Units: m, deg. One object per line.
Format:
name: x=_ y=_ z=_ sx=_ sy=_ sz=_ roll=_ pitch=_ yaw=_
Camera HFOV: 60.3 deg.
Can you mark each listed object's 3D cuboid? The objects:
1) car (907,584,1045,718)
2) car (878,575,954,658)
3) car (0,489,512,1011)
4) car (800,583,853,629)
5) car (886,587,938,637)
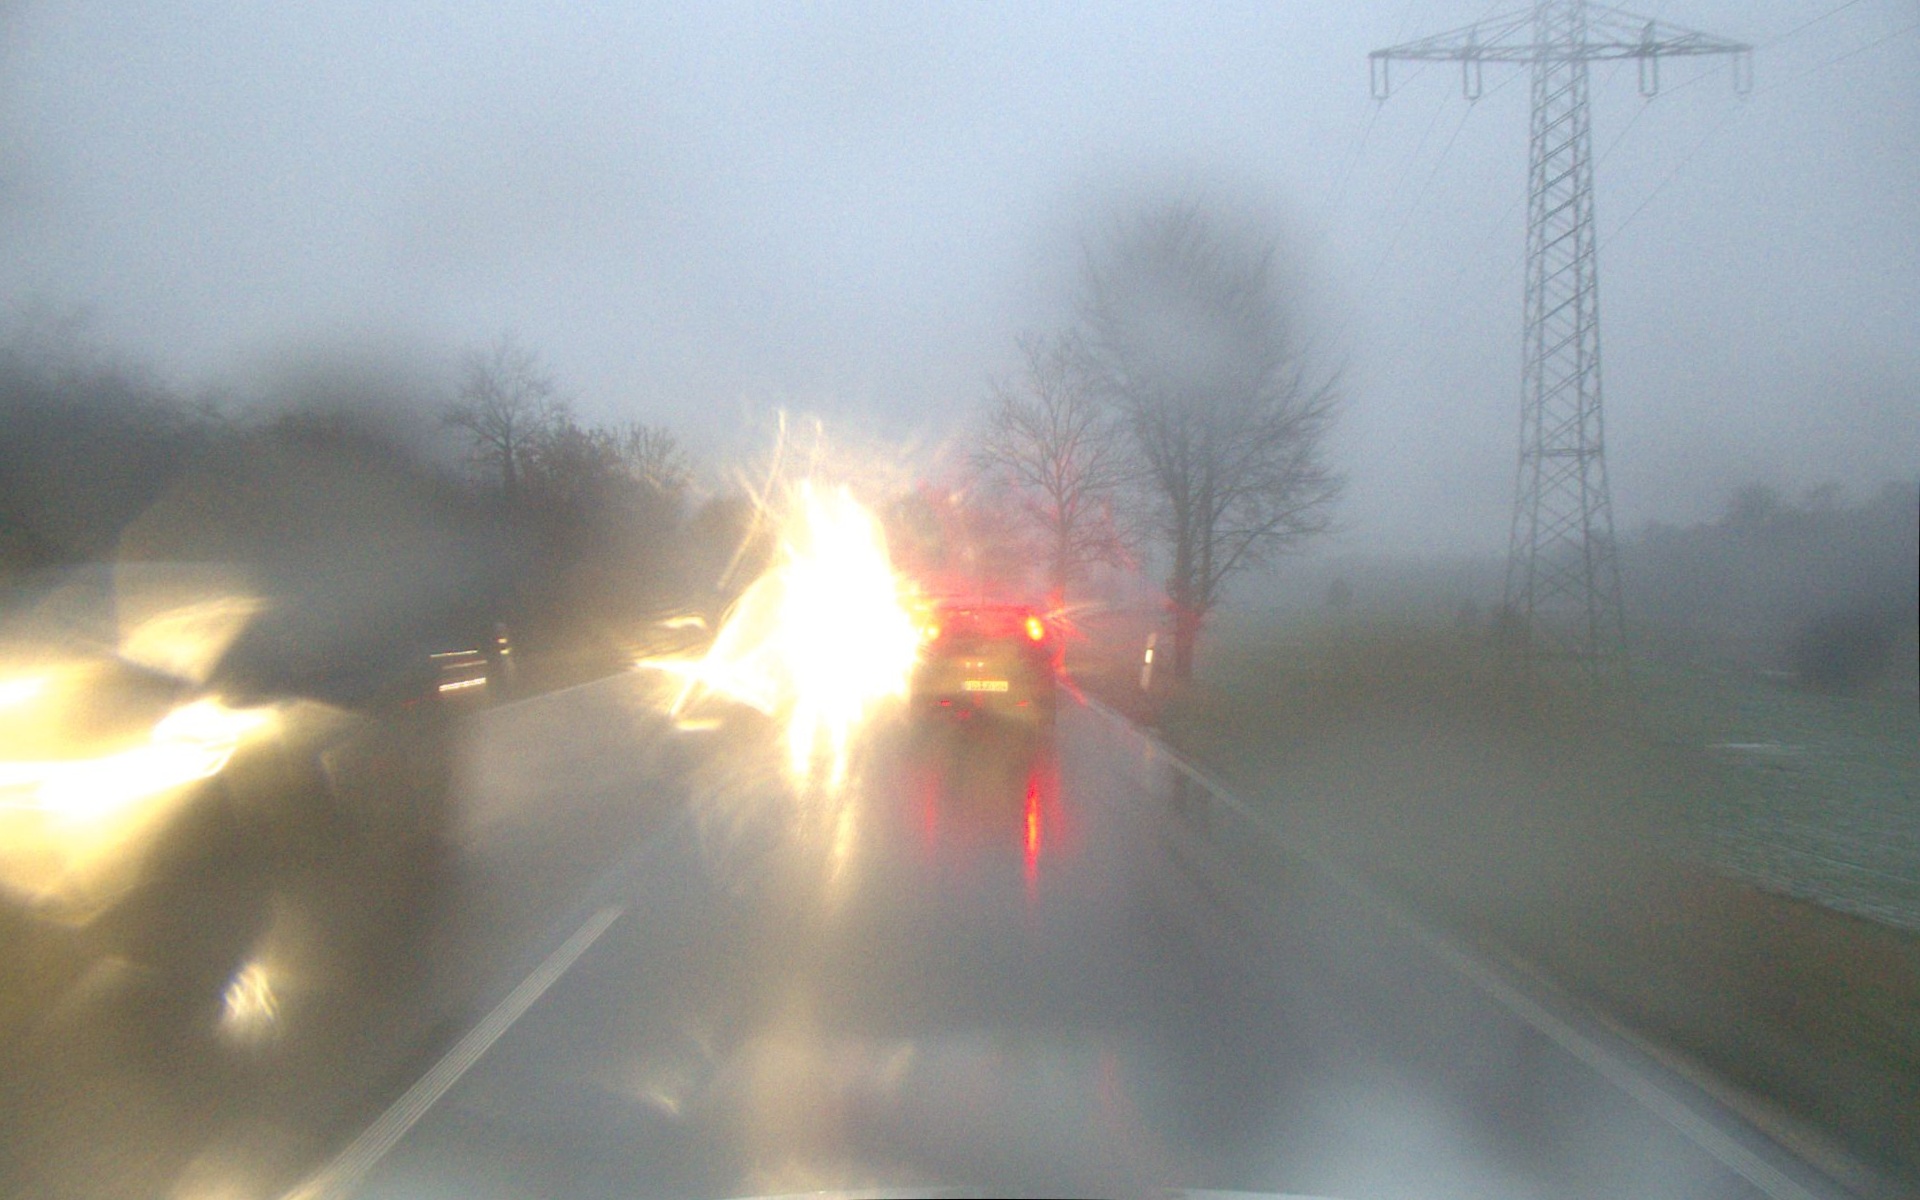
car: x=0.189 y=0.553 z=19.502 sx=1.469 sy=1.423 sz=3.200 roll=1 pitch=0 yaw=0
car: x=-1.098 y=0.407 z=43.142 sx=1.814 sy=2.049 sz=4.000 roll=1 pitch=0 yaw=0
car: x=-3.565 y=0.492 z=7.768 sx=1.749 sy=1.781 sz=4.258 roll=0 pitch=1 yaw=0
car: x=-5.305 y=0.218 z=66.039 sx=1.825 sy=1.729 sz=4.466 roll=1 pitch=1 yaw=-2
car: x=-1.774 y=0.404 z=61.086 sx=1.825 sy=1.729 sz=4.466 roll=1 pitch=1 yaw=-2
